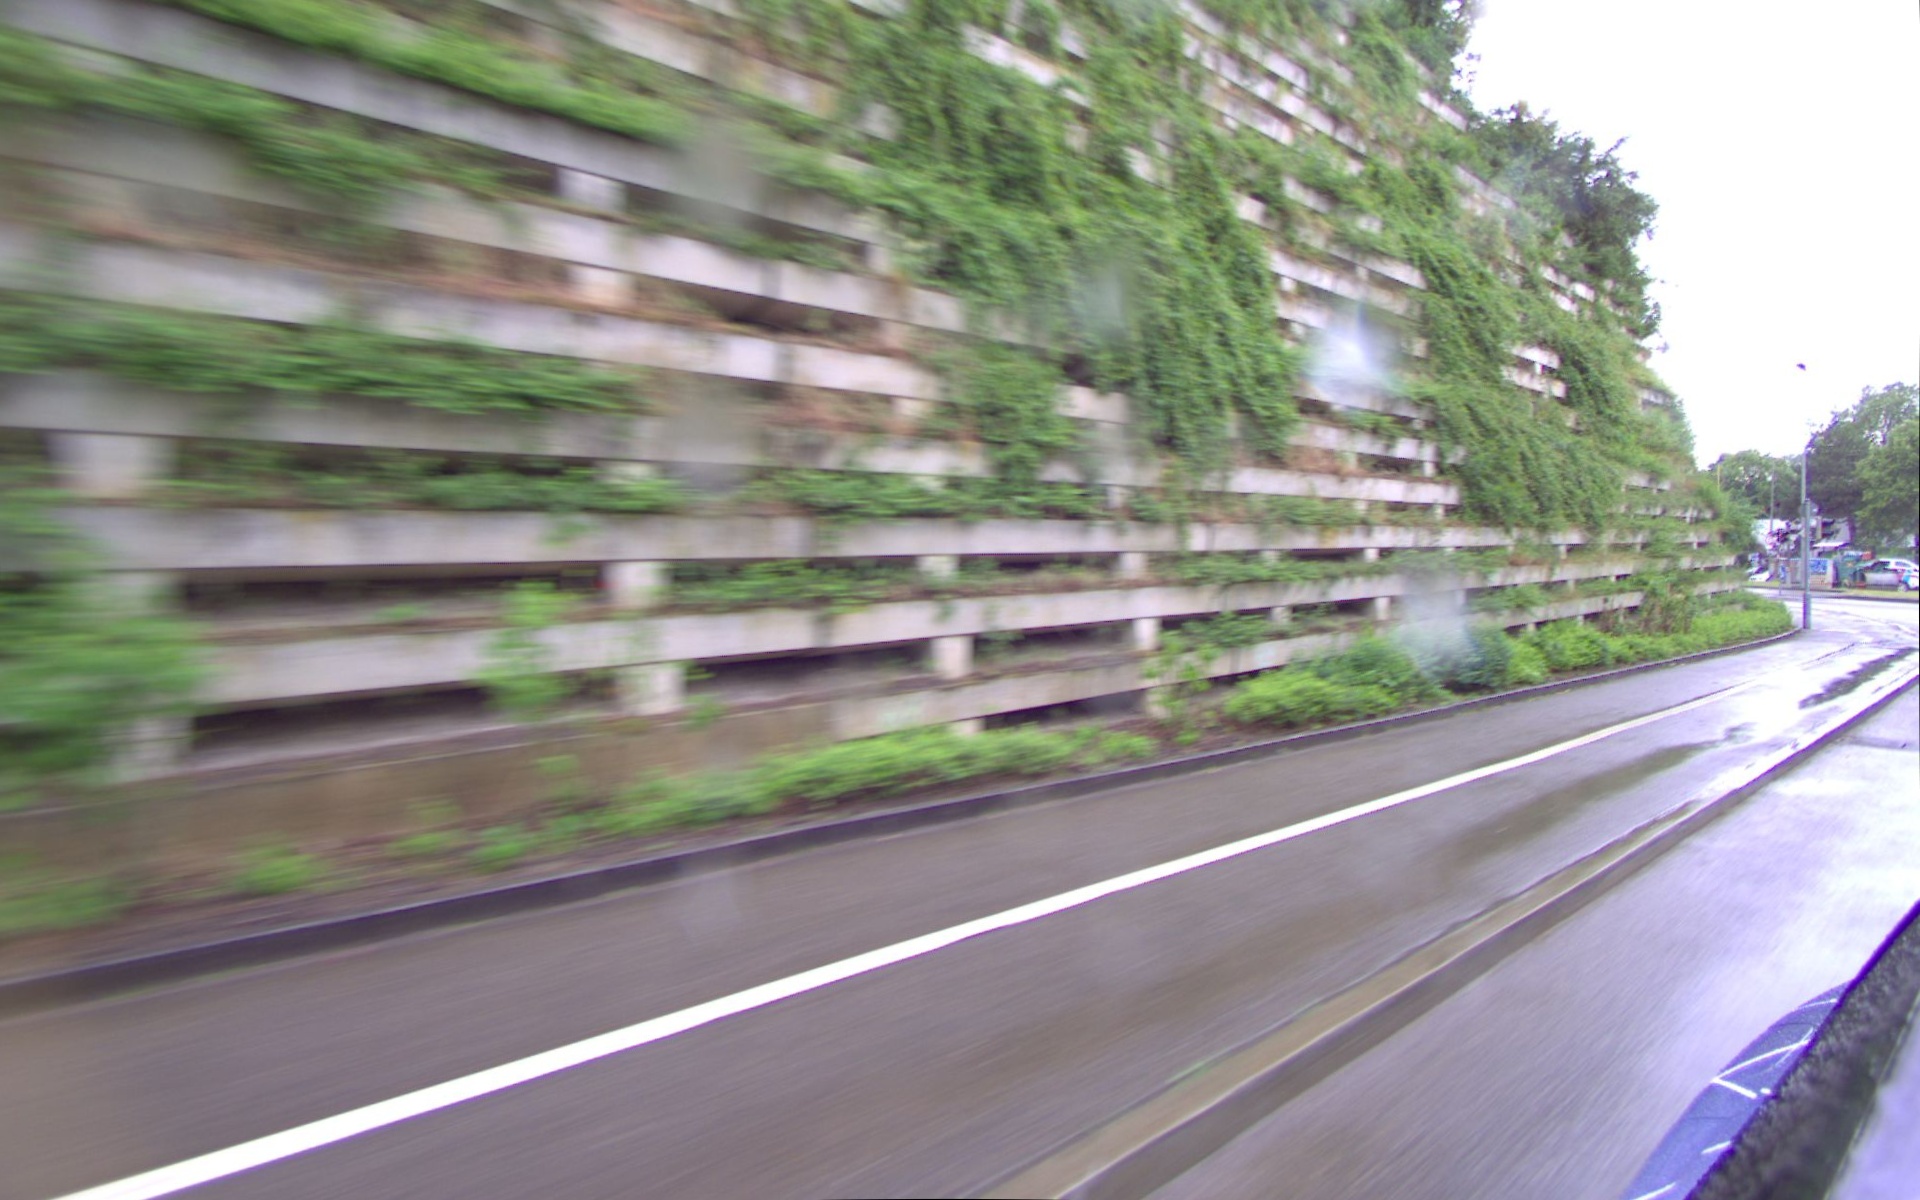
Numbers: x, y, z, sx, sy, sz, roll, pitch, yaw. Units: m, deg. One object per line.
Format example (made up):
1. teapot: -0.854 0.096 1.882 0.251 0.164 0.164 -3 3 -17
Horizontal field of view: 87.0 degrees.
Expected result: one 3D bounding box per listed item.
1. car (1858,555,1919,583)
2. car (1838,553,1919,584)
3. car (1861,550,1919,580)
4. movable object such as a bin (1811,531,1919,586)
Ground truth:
1. car: 55.917 -1.834 60.061 1.564 1.592 3.708 -2 5 -40
2. car: 52.246 -1.788 56.980 1.641 1.592 3.996 -2 5 -41
3. car: 61.205 -2.255 65.216 1.888 1.786 4.386 -2 5 -40
4. movable object such as a bin: 47.978 -2.189 53.354 2.277 2.719 5.682 2 2 13
